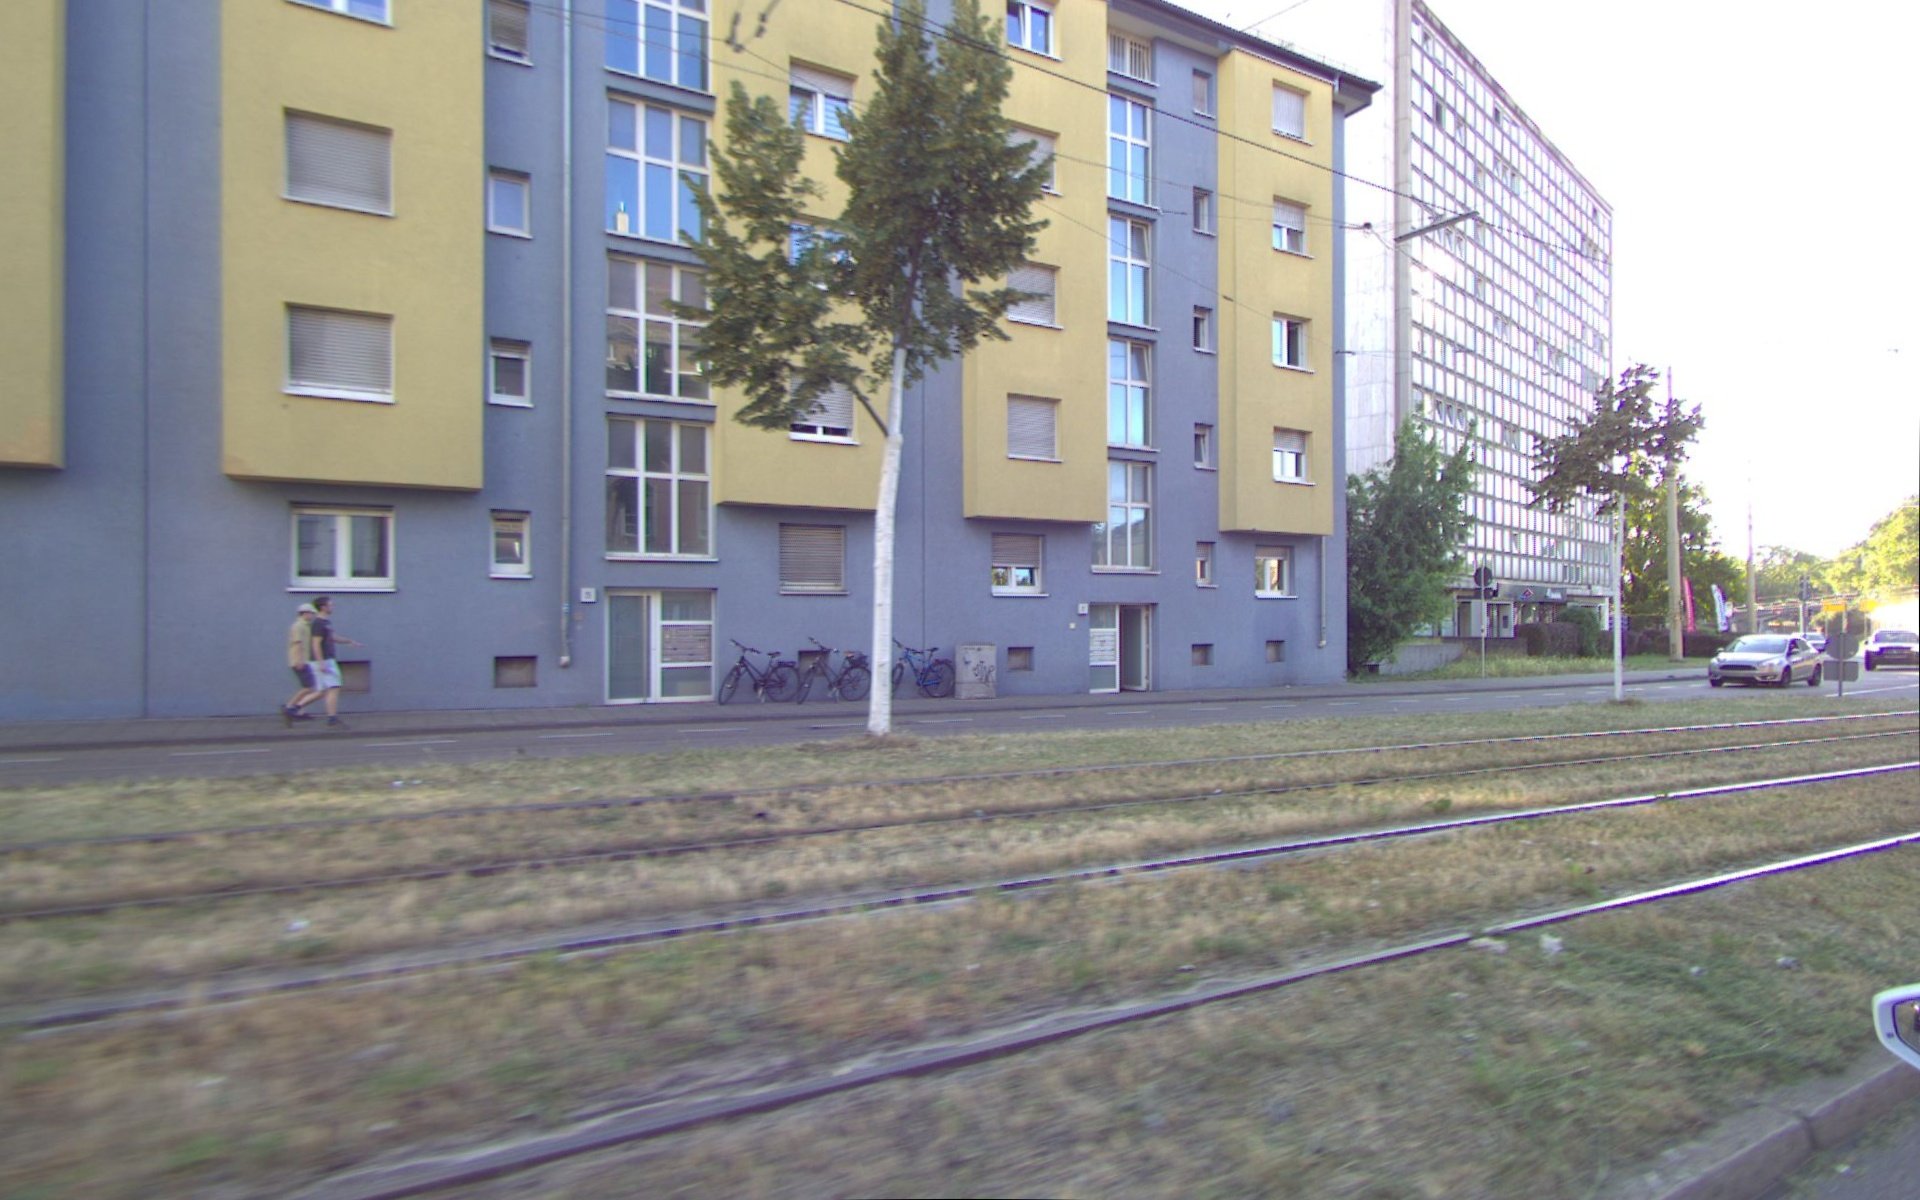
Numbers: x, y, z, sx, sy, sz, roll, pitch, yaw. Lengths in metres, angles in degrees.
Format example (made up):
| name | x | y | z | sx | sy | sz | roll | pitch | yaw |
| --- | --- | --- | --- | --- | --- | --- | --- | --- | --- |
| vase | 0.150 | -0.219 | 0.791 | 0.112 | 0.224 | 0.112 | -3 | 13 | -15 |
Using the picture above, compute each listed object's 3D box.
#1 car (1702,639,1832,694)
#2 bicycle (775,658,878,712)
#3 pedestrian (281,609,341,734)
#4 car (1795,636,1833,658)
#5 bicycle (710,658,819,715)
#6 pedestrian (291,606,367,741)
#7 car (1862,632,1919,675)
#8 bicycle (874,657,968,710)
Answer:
| name | x | y | z | sx | sy | sz | roll | pitch | yaw |
| --- | --- | --- | --- | --- | --- | --- | --- | --- | --- |
| car | 23.525 | 1.906 | 29.242 | 4.270 | 1.479 | 1.688 | 2 | -4 | -33 |
| bicycle | -2.516 | 1.584 | 18.998 | 1.889 | 0.937 | 0.425 | 1 | 2 | -30 |
| pedestrian | -9.325 | 1.009 | 14.456 | 0.698 | 1.717 | 0.613 | 0 | 3 | -31 |
| car | 60.821 | 3.306 | 71.604 | 1.753 | 1.501 | 4.384 | -1 | -2 | 36 |
| bicycle | -3.528 | 1.559 | 18.234 | 1.889 | 0.937 | 0.425 | 1 | 2 | -30 |
| pedestrian | -8.783 | 0.996 | 14.009 | 0.875 | 1.797 | 0.590 | 0 | 3 | -31 |
| car | 39.730 | 2.227 | 42.378 | 4.671 | 1.683 | 1.902 | 1 | -3 | -41 |
| bicycle | -0.767 | 1.646 | 20.000 | 1.889 | 0.972 | 0.425 | 1 | -2 | -30 |
